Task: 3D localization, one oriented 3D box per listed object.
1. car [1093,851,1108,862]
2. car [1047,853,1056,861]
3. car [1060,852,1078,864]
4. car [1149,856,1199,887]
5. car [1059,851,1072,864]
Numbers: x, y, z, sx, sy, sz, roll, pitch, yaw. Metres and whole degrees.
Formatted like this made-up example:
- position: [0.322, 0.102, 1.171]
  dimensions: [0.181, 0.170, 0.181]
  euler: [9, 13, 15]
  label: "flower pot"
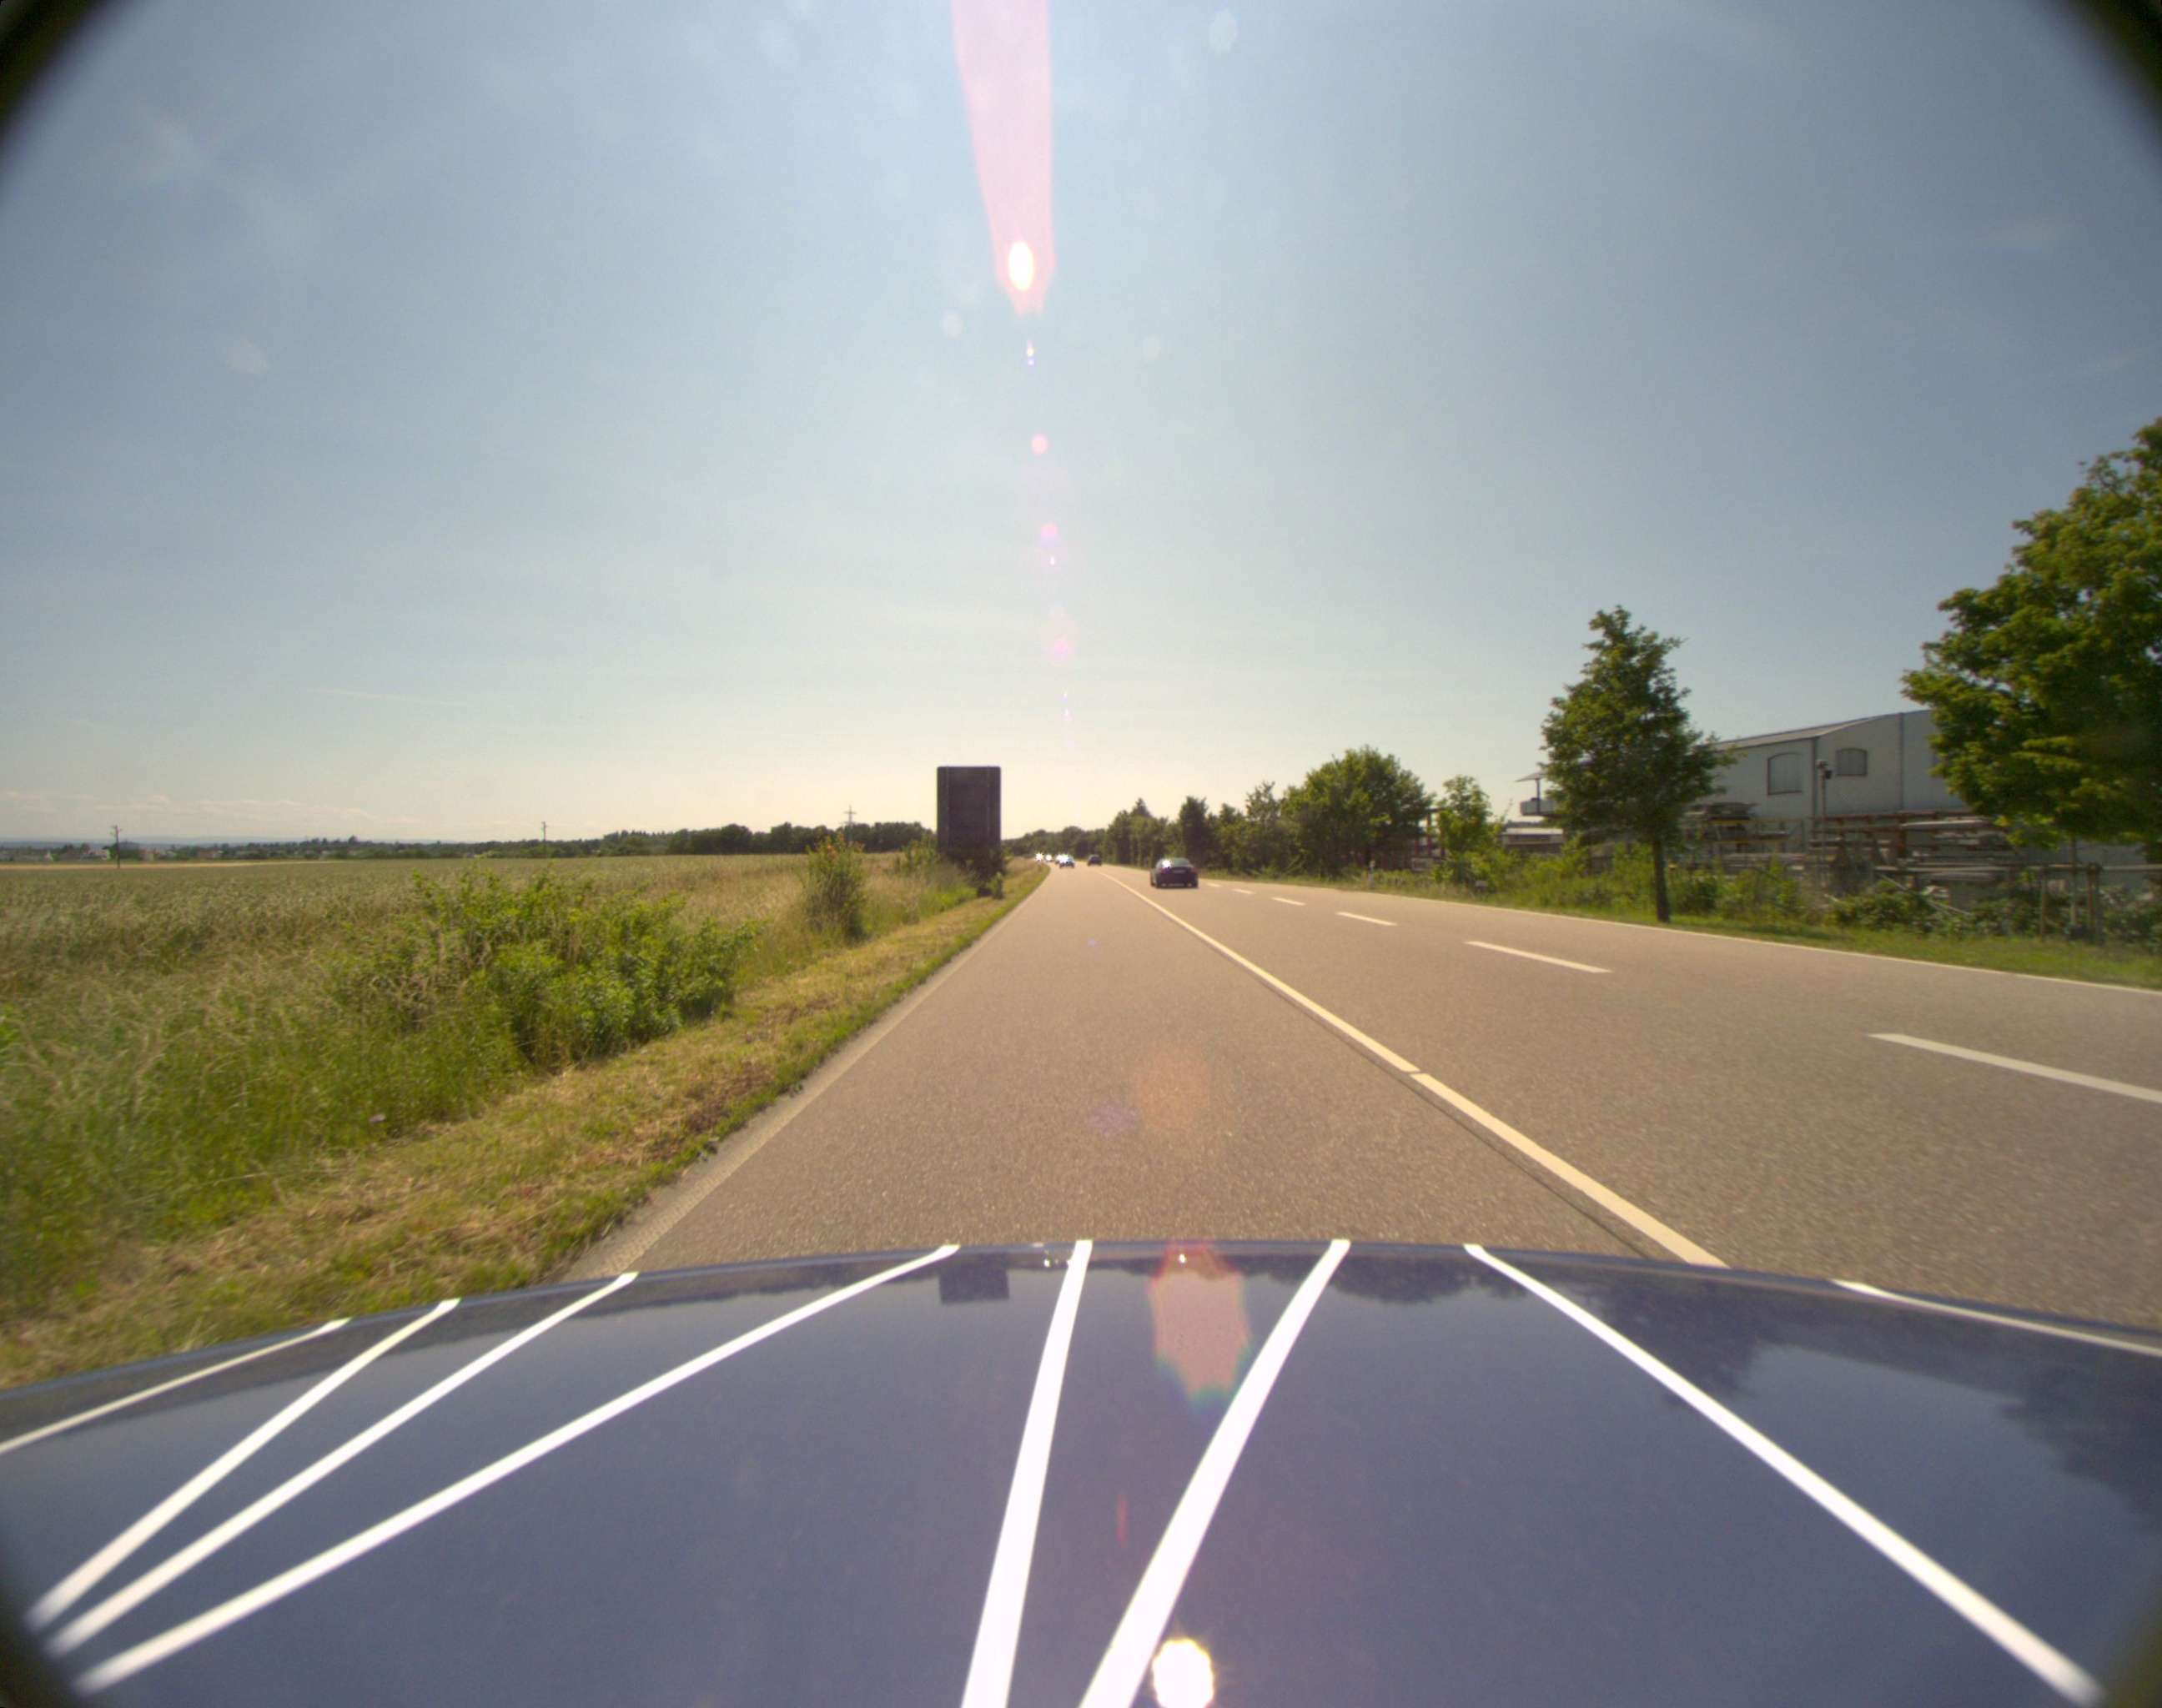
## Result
- position: [2.695, 0.299, 103.560]
  dimensions: [1.786, 1.412, 4.533]
  euler: [-2, 0, -1]
  label: "car"
- position: [-6.558, 0.654, 167.696]
  dimensions: [1.555, 1.659, 3.996]
  euler: [-2, 1, -9]
  label: "car"
- position: [-1.477, 0.476, 91.571]
  dimensions: [1.694, 1.431, 3.707]
  euler: [-2, 0, -9]
  label: "car"
- position: [4.056, 0.739, 33.552]
  dimensions: [1.640, 1.261, 3.811]
  euler: [-2, 0, -1]
  label: "car"
- position: [-2.702, 0.552, 127.593]
  dimensions: [1.999, 2.002, 3.999]
  euler: [-2, 0, -3]
  label: "car"
